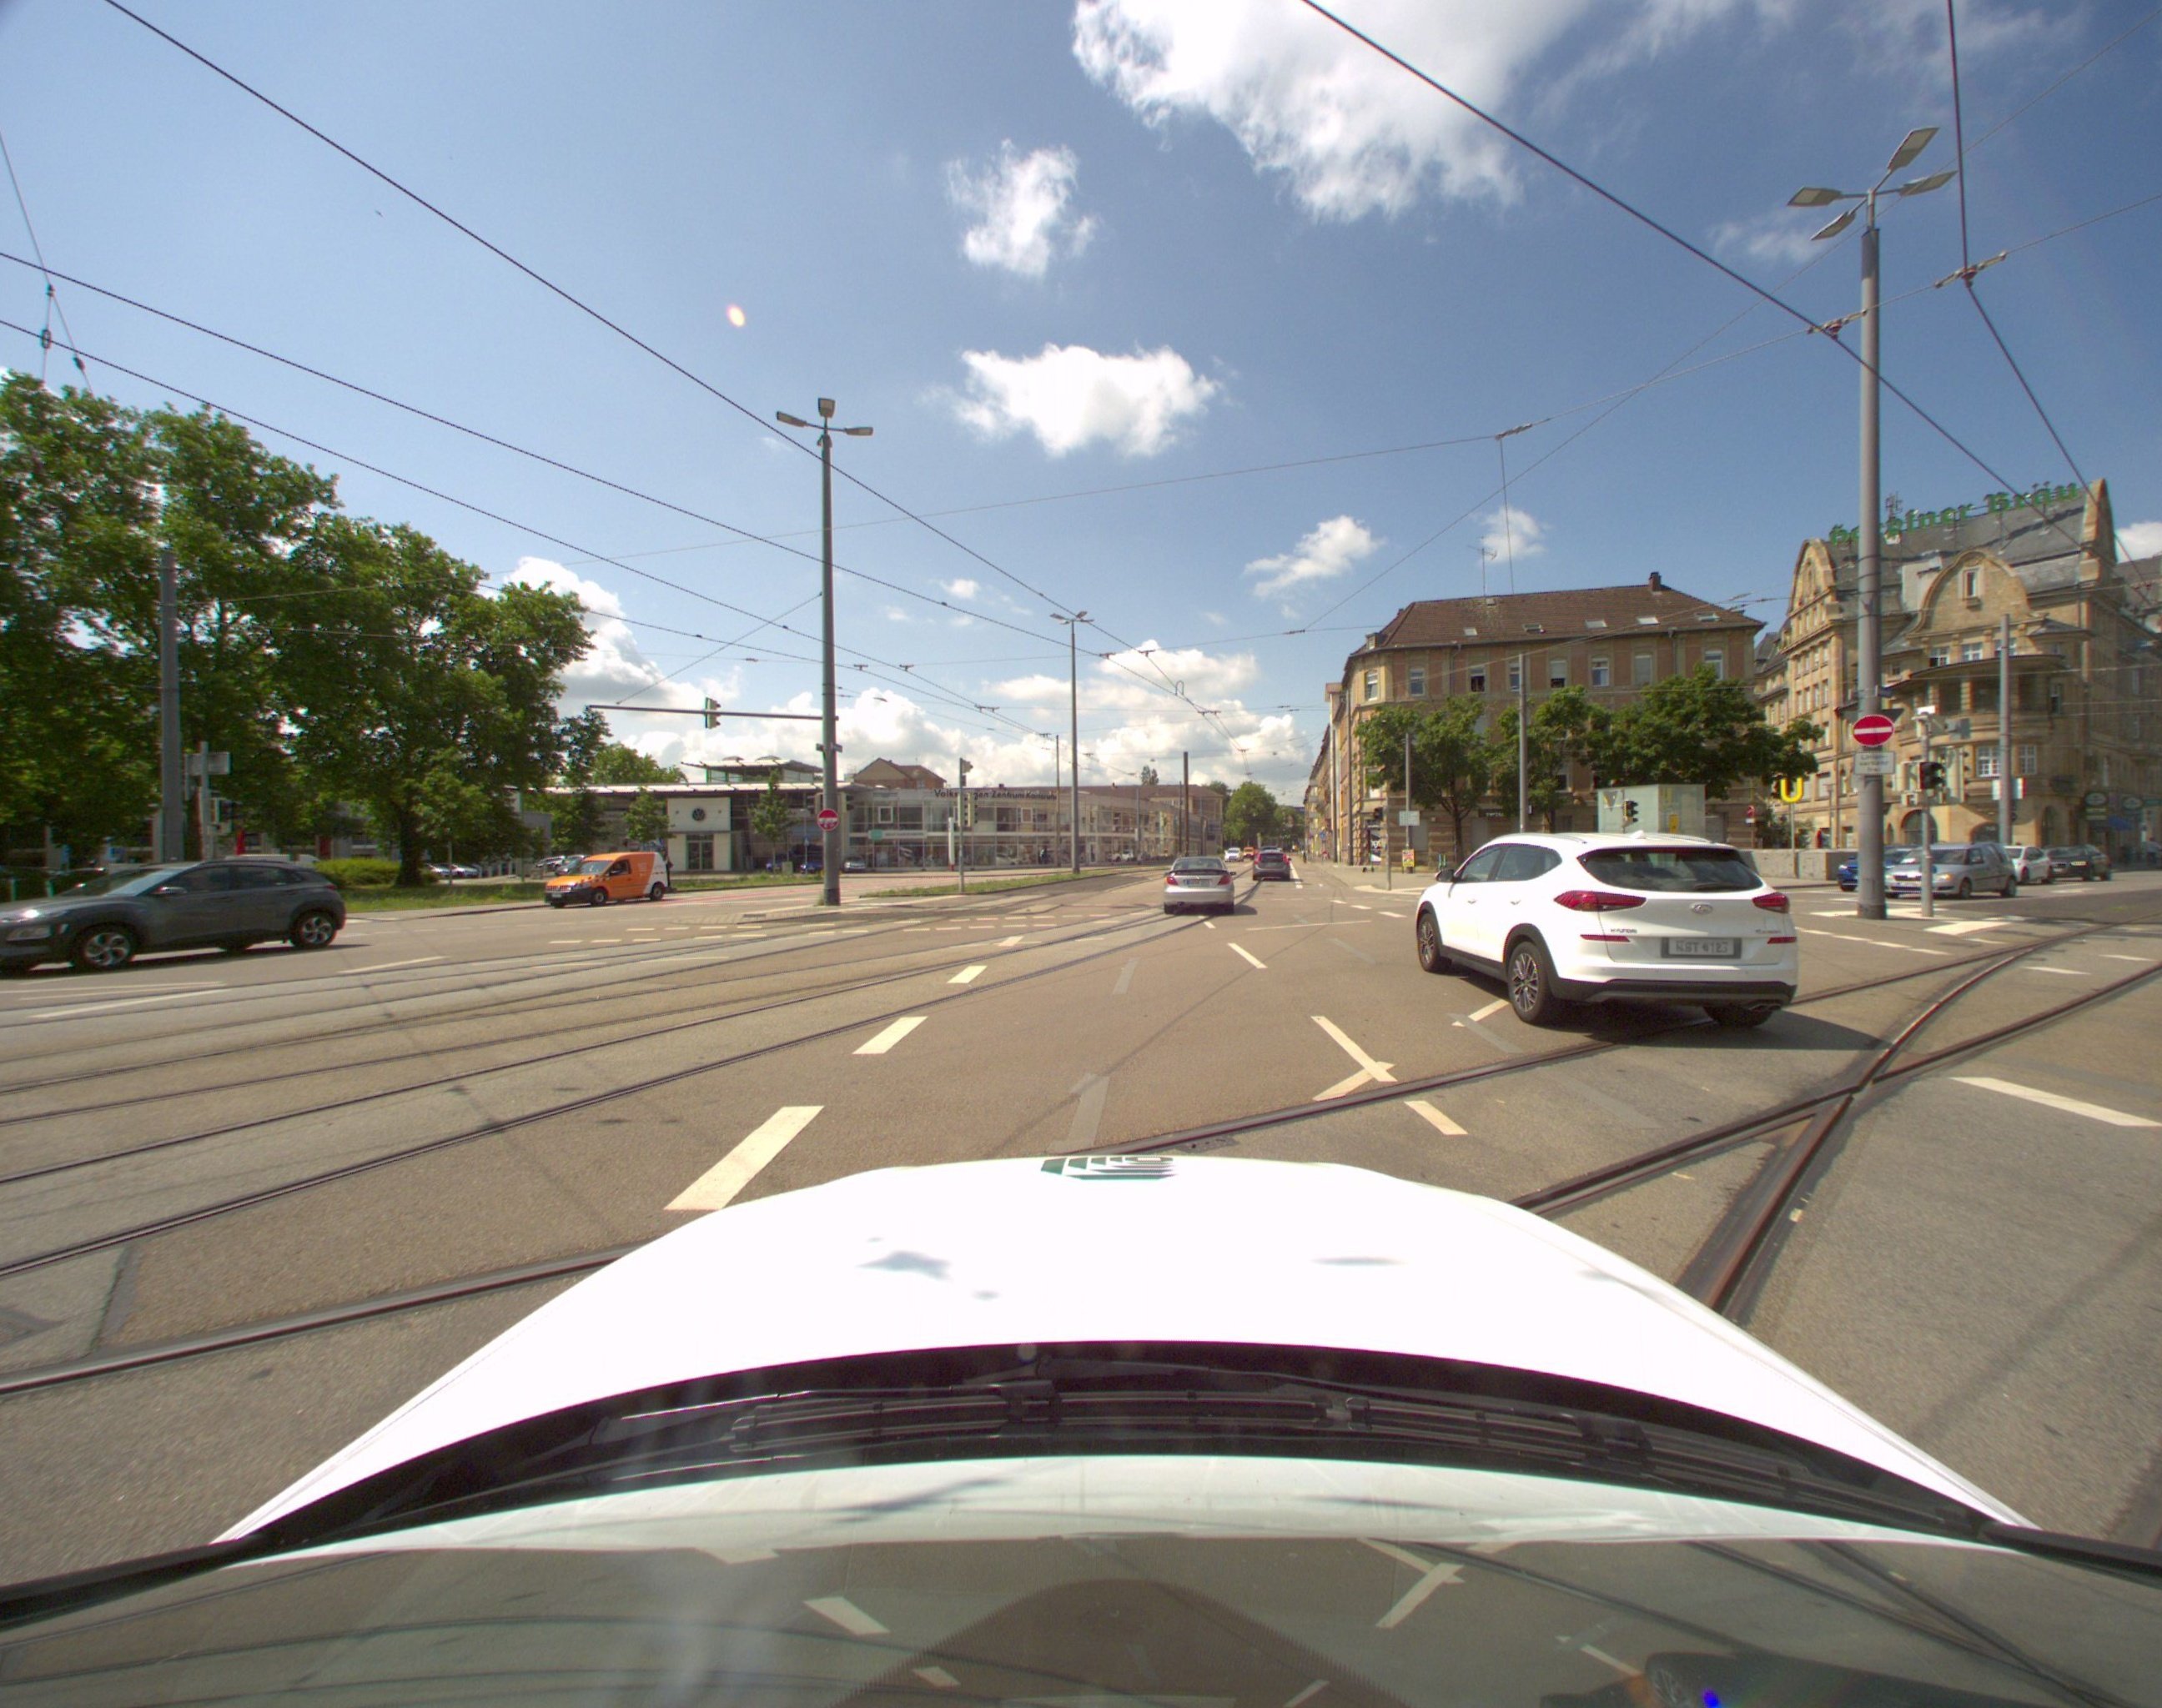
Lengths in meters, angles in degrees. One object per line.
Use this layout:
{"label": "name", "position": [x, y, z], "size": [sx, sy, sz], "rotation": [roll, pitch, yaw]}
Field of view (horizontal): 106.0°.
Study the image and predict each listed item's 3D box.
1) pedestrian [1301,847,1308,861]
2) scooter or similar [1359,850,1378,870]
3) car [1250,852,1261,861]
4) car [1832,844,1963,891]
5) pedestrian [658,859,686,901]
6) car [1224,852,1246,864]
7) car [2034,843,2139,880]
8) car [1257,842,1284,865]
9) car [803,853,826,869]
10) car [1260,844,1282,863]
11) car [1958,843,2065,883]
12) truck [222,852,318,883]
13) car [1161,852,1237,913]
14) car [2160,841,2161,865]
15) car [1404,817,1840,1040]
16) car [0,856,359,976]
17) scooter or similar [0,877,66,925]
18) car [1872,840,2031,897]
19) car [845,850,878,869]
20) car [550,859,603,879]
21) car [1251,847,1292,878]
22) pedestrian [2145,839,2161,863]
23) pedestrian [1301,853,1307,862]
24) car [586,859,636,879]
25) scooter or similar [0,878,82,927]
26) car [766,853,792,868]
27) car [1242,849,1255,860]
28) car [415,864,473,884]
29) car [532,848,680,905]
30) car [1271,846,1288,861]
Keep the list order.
{"label": "pedestrian", "position": [22.930, -0.020, 83.583], "size": [0.687, 1.457, 0.682], "rotation": [0, -1, 13]}
{"label": "scooter or similar", "position": [17.266, 0.360, 48.894], "size": [1.529, 1.174, 0.378], "rotation": [1, -2, -39]}
{"label": "car", "position": [33.875, 0.521, 158.217], "size": [1.868, 1.693, 3.972], "rotation": [-1, 0, 14]}
{"label": "car", "position": [27.917, 0.427, 27.841], "size": [4.142, 1.473, 1.711], "rotation": [-1, 0, -22]}
{"label": "pedestrian", "position": [-17.742, 1.114, 35.317], "size": [0.755, 1.800, 0.767], "rotation": [-1, 0, 11]}
{"label": "car", "position": [18.398, 0.490, 97.175], "size": [1.865, 1.419, 3.976], "rotation": [-1, 0, 19]}
{"label": "car", "position": [42.910, 0.279, 34.761], "size": [4.142, 1.473, 1.711], "rotation": [-1, 0, -22]}
{"label": "car", "position": [14.244, -0.046, 61.320], "size": [1.868, 1.641, 3.971], "rotation": [-1, 0, 13]}
{"label": "car", "position": [-21.766, 0.603, 66.599], "size": [1.651, 1.250, 3.978], "rotation": [1, -1, -16]}
{"label": "car", "position": [17.375, -0.075, 74.468], "size": [1.868, 1.641, 3.971], "rotation": [-1, 0, 13]}
{"label": "car", "position": [36.878, 0.339, 32.276], "size": [4.146, 1.473, 1.709], "rotation": [-1, 0, -25]}
{"label": "truck", "position": [-57.181, 0.917, 57.570], "size": [1.796, 2.120, 4.782], "rotation": [-1, 0, 3]}
{"label": "car", "position": [3.097, 0.669, 20.996], "size": [1.730, 1.391, 4.191], "rotation": [-1, 0, 10]}
{"label": "car", "position": [70.841, -0.097, 52.180], "size": [4.153, 1.473, 1.706], "rotation": [-1, 0, -32]}
{"label": "car", "position": [4.848, 0.524, 8.173], "size": [1.872, 1.641, 4.239], "rotation": [-1, 1, 5]}
{"label": "car", "position": [-14.162, 0.819, 12.726], "size": [1.708, 1.531, 4.132], "rotation": [-1, 0, 9]}
{"label": "scooter or similar", "position": [-25.414, 1.112, 19.630], "size": [0.375, 1.115, 1.100], "rotation": [0, -1, 17]}
{"label": "car", "position": [24.575, 0.367, 22.989], "size": [4.142, 1.473, 1.711], "rotation": [-1, 0, -22]}
{"label": "car", "position": [-18.471, 0.480, 68.699], "size": [1.990, 1.574, 3.993], "rotation": [0, -1, -4]}
{"label": "car", "position": [-41.701, 1.262, 67.481], "size": [1.990, 1.574, 4.171], "rotation": [0, -1, -4]}
{"label": "car", "position": [9.468, 0.399, 40.450], "size": [1.868, 1.419, 3.971], "rotation": [-1, 0, 13]}
{"label": "pedestrian", "position": [73.414, -0.217, 55.741], "size": [0.647, 1.632, 0.606], "rotation": [1, -2, -31]}
{"label": "pedestrian", "position": [22.837, 0.375, 83.425], "size": [0.521, 0.906, 1.566], "rotation": [0, -1, 13]}
{"label": "car", "position": [-39.000, 1.273, 67.695], "size": [1.990, 1.574, 4.171], "rotation": [0, -1, -4]}
{"label": "scooter or similar", "position": [-24.737, 1.135, 19.388], "size": [0.375, 1.115, 1.100], "rotation": [0, -1, 17]}
{"label": "car", "position": [-24.784, 0.558, 66.973], "size": [1.651, 1.250, 3.978], "rotation": [1, -1, -16]}
{"label": "car", "position": [26.600, 0.116, 129.019], "size": [1.868, 1.693, 3.972], "rotation": [-1, 0, 14]}
{"label": "car", "position": [-63.029, 1.975, 80.609], "size": [4.217, 2.014, 2.003], "rotation": [0, -1, 5]}
{"label": "car", "position": [-16.400, 0.710, 28.462], "size": [1.707, 1.800, 4.755], "rotation": [-2, 0, 11]}
{"label": "car", "position": [22.895, -0.076, 93.806], "size": [1.868, 1.641, 3.972], "rotation": [-1, 0, 14]}
